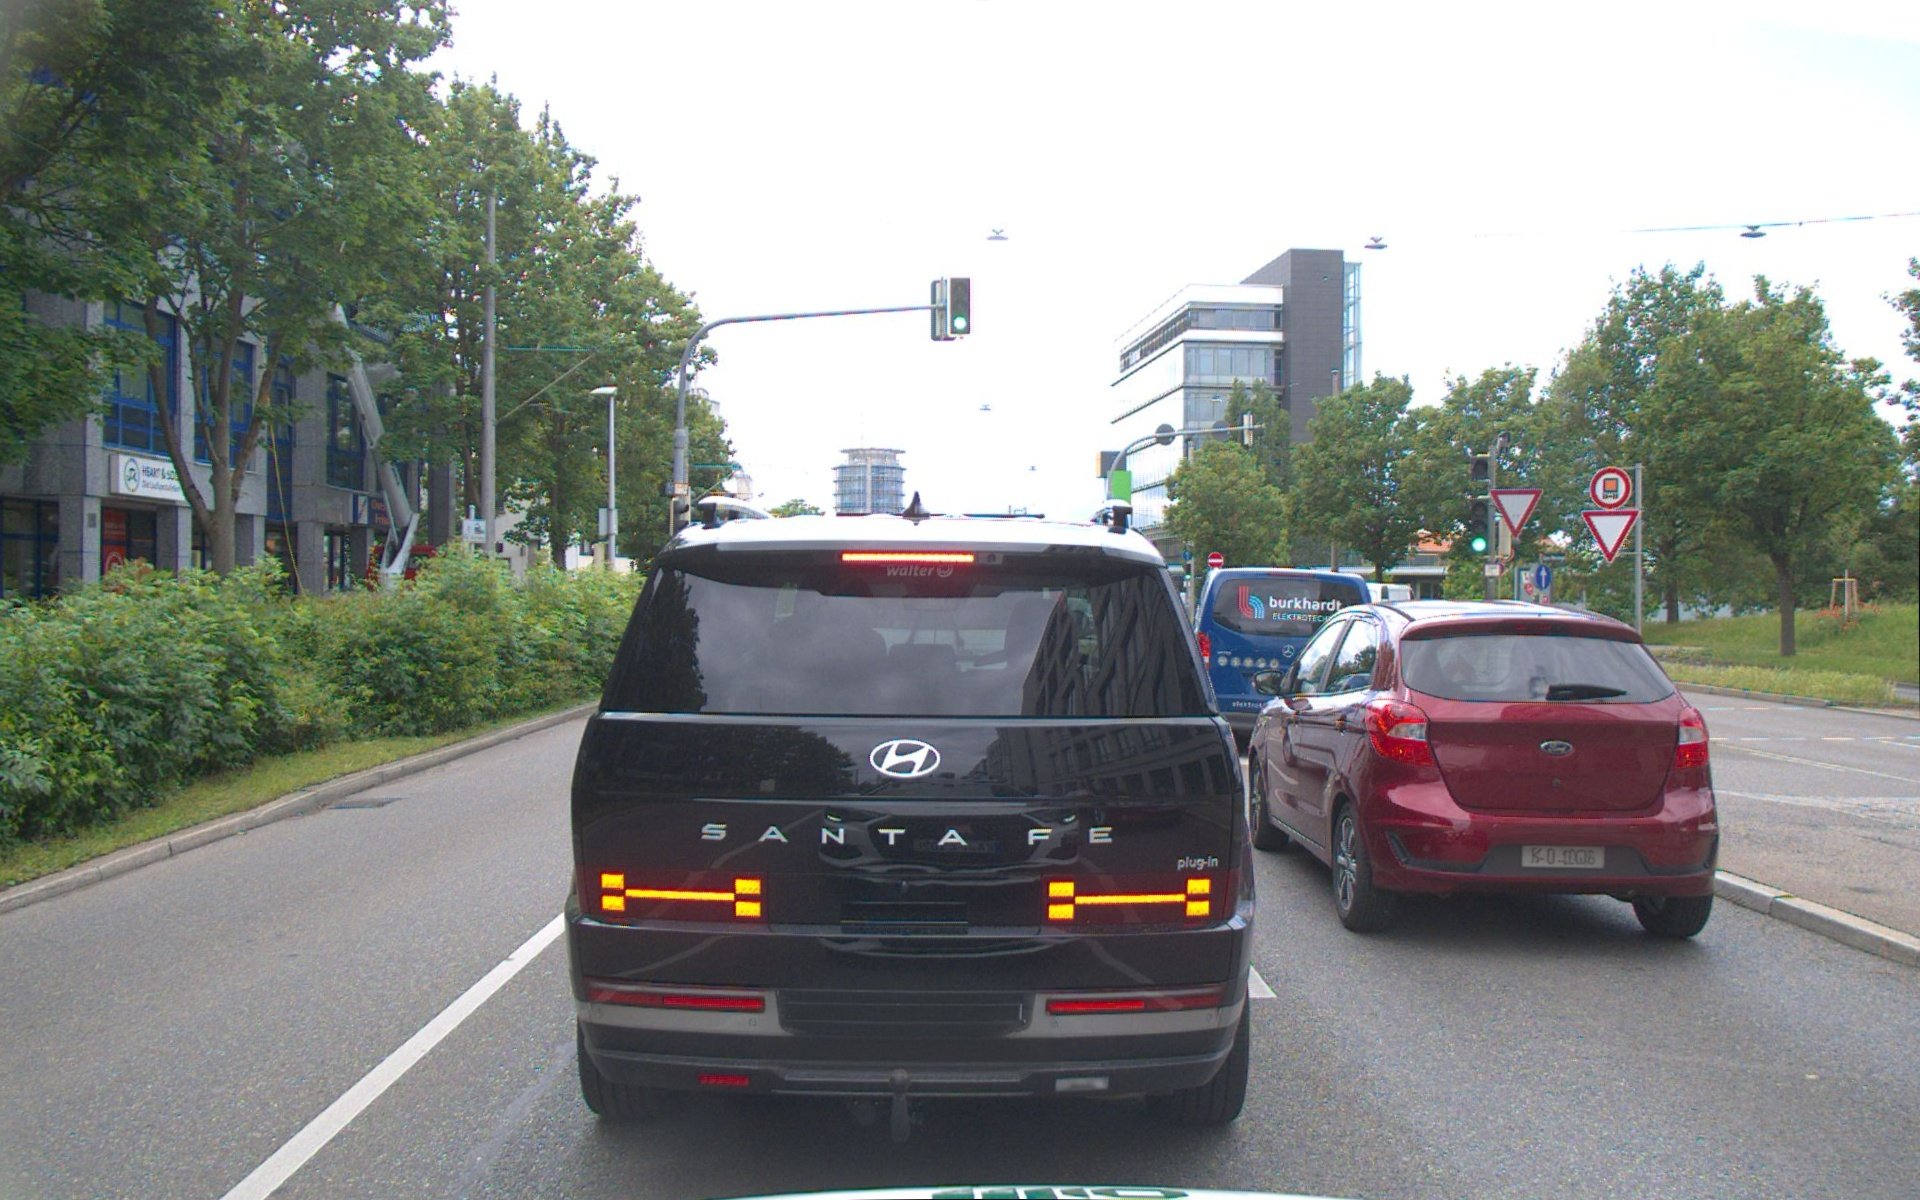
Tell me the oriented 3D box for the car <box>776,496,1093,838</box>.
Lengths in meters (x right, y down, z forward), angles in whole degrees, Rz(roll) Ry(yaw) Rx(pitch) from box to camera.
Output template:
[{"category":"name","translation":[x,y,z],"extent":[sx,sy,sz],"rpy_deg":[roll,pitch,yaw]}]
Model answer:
[{"category":"car","translation":[-0.017,0.391,12.305],"extent":[1.862,2.003,4.638],"rpy_deg":[2,0,3]}]

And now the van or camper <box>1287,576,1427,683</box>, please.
[{"category":"van or camper","translation":[8.054,0.530,33.270],"extent":[1.954,1.951,4.407],"rpy_deg":[2,1,24]}]

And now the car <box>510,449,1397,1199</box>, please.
[{"category":"car","translation":[-0.043,0.574,5.780],"extent":[1.863,1.762,4.445],"rpy_deg":[2,0,-1]}]

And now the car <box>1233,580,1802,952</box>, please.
[{"category":"car","translation":[2.628,0.680,8.739],"extent":[1.709,1.507,3.718],"rpy_deg":[1,0,0]}]

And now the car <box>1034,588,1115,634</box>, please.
[{"category":"car","translation":[4.030,0.374,58.751],"extent":[1.751,1.450,4.384],"rpy_deg":[2,1,-11]}]

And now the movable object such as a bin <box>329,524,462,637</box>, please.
[{"category":"movable object such as a bin","translation":[-13.741,-0.476,40.530],"extent":[1.866,2.575,4.126],"rpy_deg":[2,0,-2]}]

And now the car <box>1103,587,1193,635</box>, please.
[{"category":"car","translation":[6.763,0.368,60.059],"extent":[1.856,1.591,4.381],"rpy_deg":[2,1,-13]}]

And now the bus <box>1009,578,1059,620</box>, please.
[{"category":"bus","translation":[5.898,-0.046,133.304],"extent":[2.908,3.171,9.236],"rpy_deg":[-1,0,-4]}]

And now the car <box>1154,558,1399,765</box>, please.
[{"category":"car","translation":[3.268,0.566,17.991],"extent":[1.862,1.891,4.711],"rpy_deg":[2,0,2]}]
